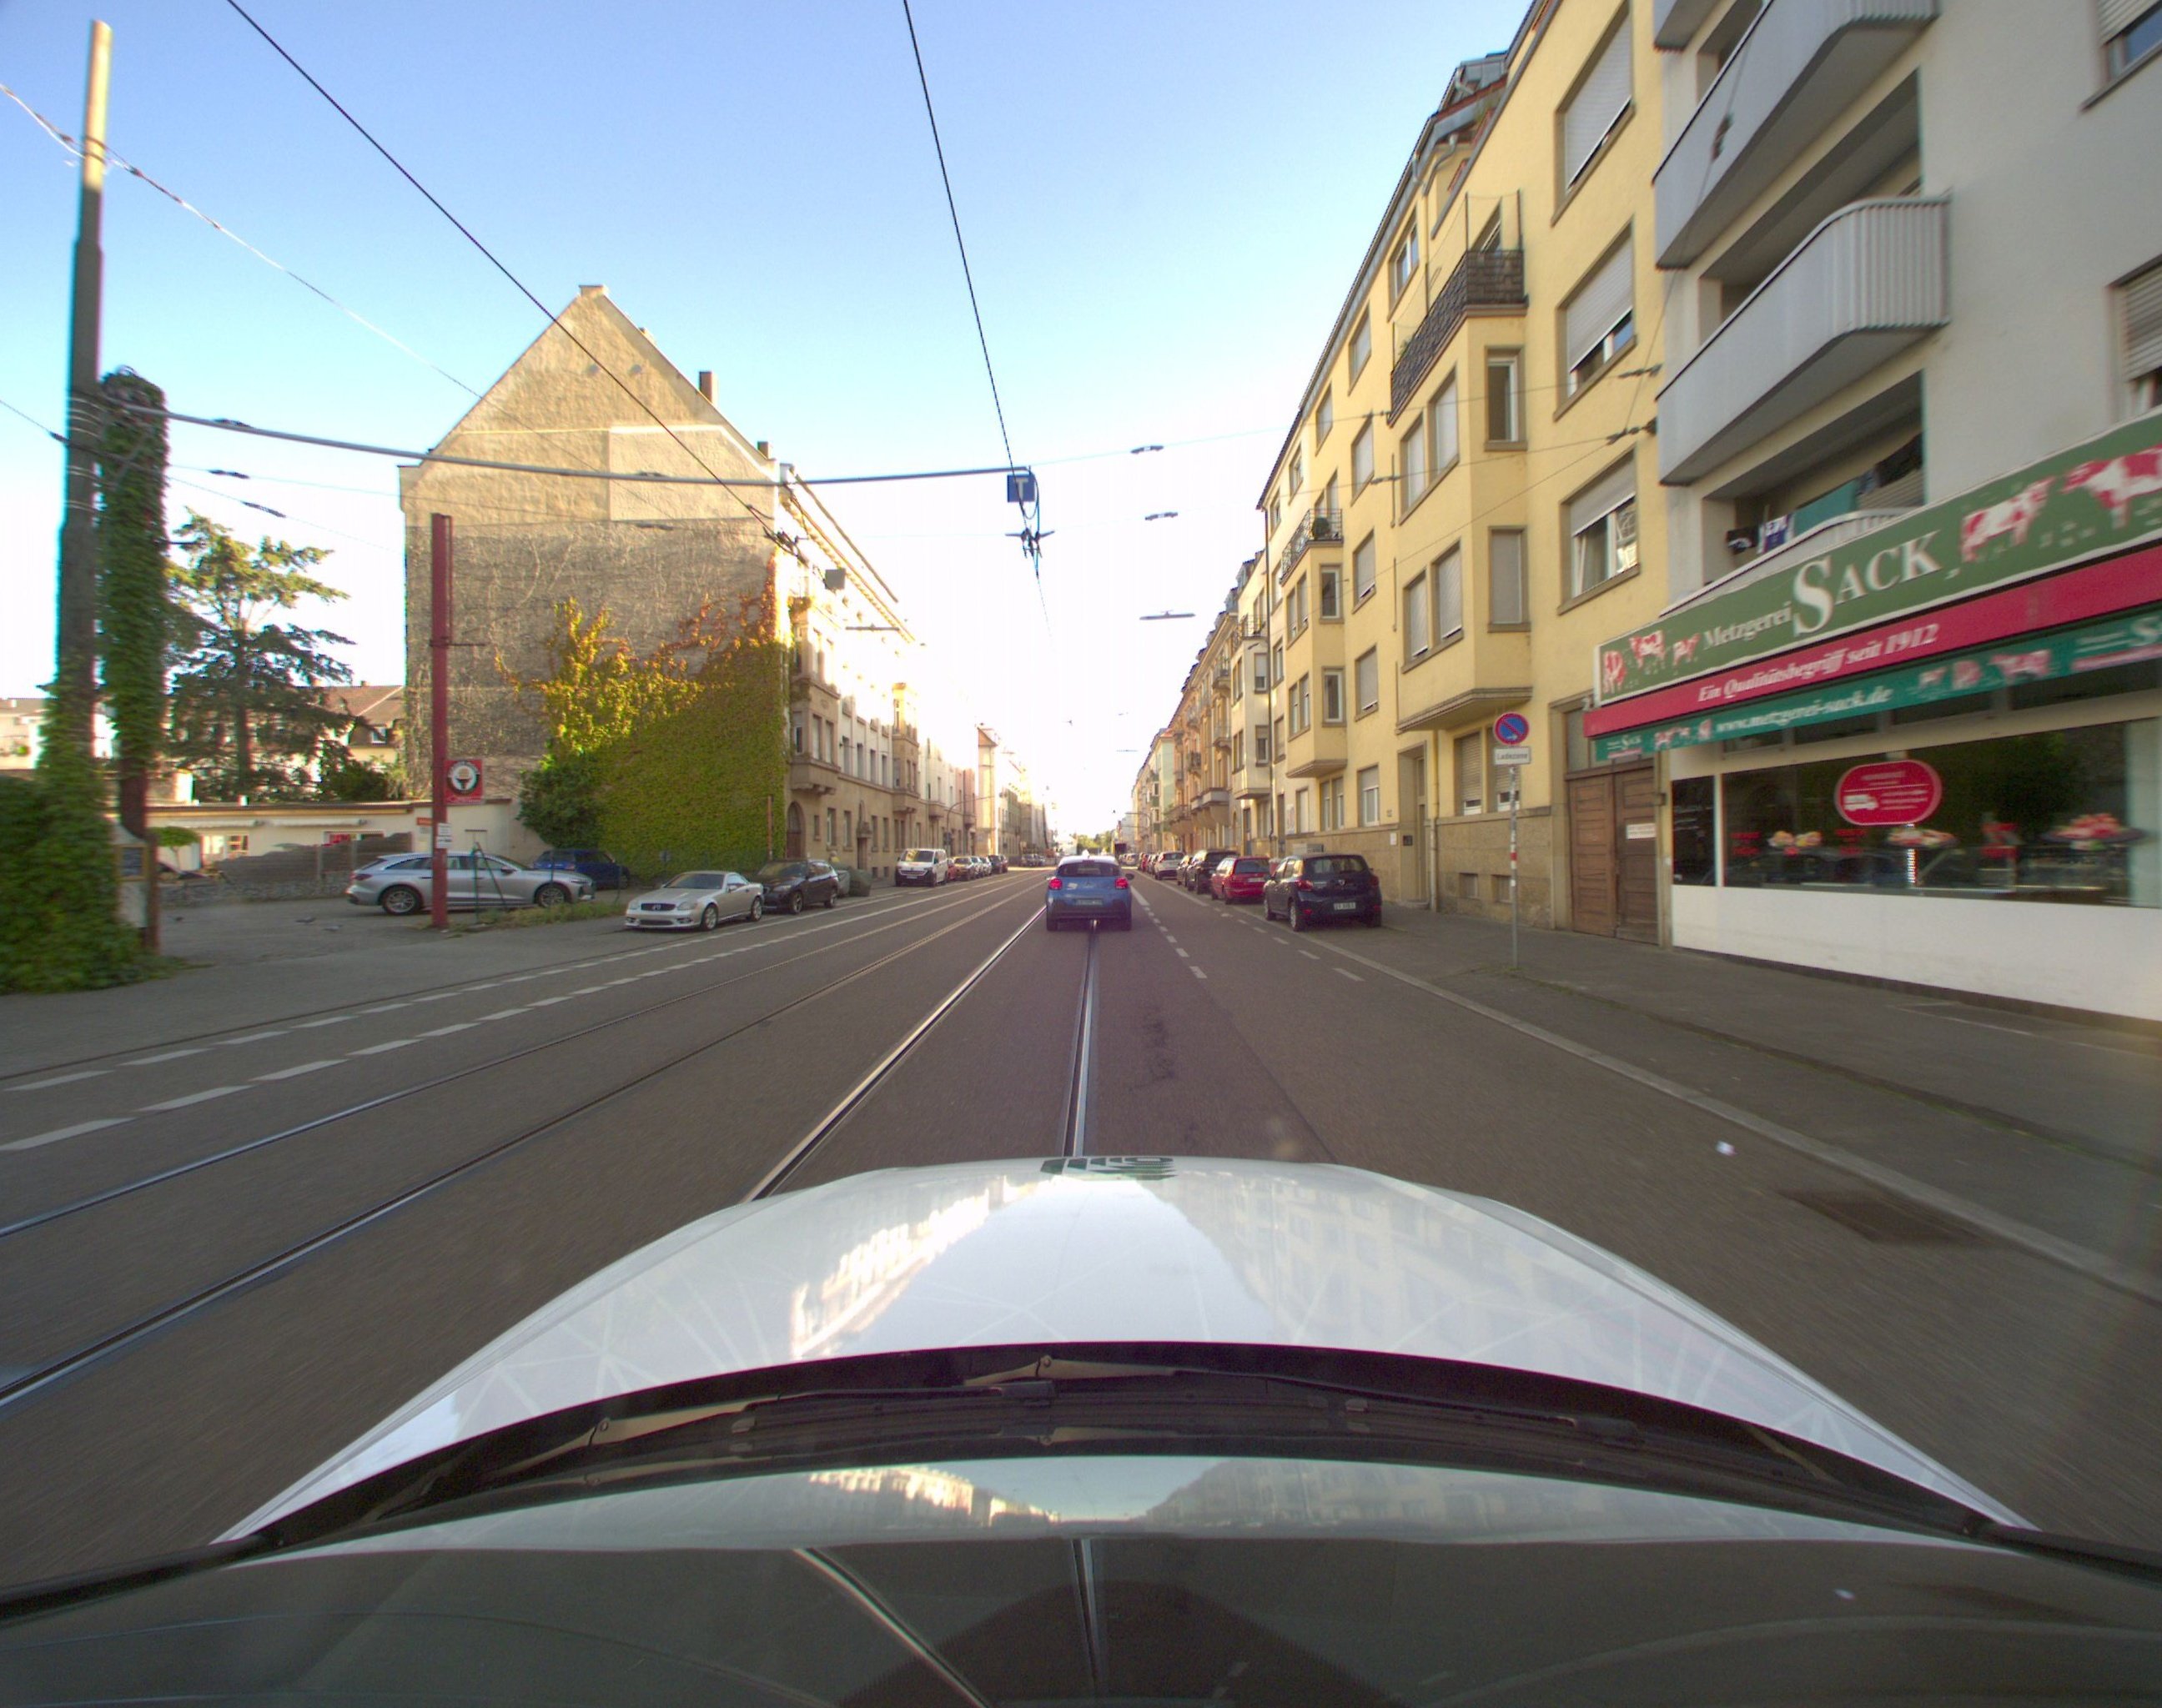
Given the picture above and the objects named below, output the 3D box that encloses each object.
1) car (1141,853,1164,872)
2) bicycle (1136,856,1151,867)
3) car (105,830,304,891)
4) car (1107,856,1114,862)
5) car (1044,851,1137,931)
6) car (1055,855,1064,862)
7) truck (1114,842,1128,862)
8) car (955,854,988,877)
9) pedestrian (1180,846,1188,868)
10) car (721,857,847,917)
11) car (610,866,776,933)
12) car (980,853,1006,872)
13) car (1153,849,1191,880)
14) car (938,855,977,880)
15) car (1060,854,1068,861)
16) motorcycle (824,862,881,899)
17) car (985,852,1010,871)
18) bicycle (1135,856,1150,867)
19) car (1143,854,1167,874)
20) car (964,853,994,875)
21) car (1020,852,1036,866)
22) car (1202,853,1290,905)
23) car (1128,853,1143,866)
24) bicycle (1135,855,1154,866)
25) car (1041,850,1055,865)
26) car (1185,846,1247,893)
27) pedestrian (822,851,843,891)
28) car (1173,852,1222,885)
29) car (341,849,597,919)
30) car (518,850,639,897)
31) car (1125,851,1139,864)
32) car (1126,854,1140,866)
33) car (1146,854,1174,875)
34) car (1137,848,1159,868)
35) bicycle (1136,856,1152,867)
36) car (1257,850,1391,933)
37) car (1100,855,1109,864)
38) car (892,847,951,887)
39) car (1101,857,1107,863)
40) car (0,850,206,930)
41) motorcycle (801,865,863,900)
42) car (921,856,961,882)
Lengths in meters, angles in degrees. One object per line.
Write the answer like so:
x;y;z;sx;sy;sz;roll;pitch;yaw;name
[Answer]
6.102;0.714;69.876;1.746;1.594;3.732;-1;0;3;car
7.541;0.898;97.683;1.716;1.154;0.469;-4;0;1;bicycle
-27.084;0.180;25.382;1.790;1.750;4.002;0;0;2;car
7.579;1.167;207.710;1.759;1.487;4.033;-1;0;2;car
0.240;0.703;17.472;1.728;1.507;3.994;1;0;2;car
-4.830;0.977;185.217;1.819;1.632;4.850;-1;0;2;car
8.543;-0.490;174.536;2.842;4.083;11.278;-1;0;3;truck
-7.787;0.795;58.157;1.766;1.547;4.364;1;0;-1;car
8.236;0.233;65.190;0.511;1.687;0.448;-1;0;1;pedestrian
-8.626;0.892;24.145;1.775;1.565;4.614;1;0;3;car
-8.921;0.980;19.172;1.777;1.314;4.222;1;0;1;car
-7.432;0.731;68.807;1.777;1.553;3.020;1;0;1;car
5.383;0.602;48.661;1.836;1.691;4.506;-1;0;2;car
-7.906;0.845;52.543;1.777;1.523;4.360;1;0;0;car
-4.336;0.953;205.291;1.819;1.632;3.906;-1;0;1;car
-8.716;0.978;31.135;0.875;1.351;1.970;0;0;34;motorcycle
-7.491;0.671;73.179;1.778;1.606;4.396;1;0;-1;car
7.595;0.923;100.434;1.716;1.154;0.469;-4;0;1;bicycle
5.908;0.744;65.306;1.648;1.513;4.475;-1;0;1;car
-7.925;0.776;63.438;1.778;1.622;4.178;1;0;-1;car
-6.775;0.670;104.045;1.778;1.690;4.666;1;0;-1;car
5.069;0.726;25.676;1.853;1.455;4.709;-1;0;0;car
6.953;0.727;103.666;1.777;1.632;4.002;-1;0;2;car
7.483;0.762;95.721;2.079;1.154;0.848;-4;0;1;bicycle
-5.643;0.594;138.891;2.138;2.475;4.978;1;0;-1;car
5.184;0.554;31.826;1.851;1.665;4.564;-1;0;3;car
-10.844;0.730;35.566;0.677;1.724;0.616;0;0;1;pedestrian
5.381;0.640;38.150;1.731;1.441;4.033;-1;0;0;car
-14.720;0.661;20.003;4.814;1.518;1.980;-1;0;-32;car
-17.660;0.648;28.866;1.746;1.525;3.911;-1;0;2;car
7.529;0.516;120.312;1.651;1.752;4.598;-1;0;-3;car
6.940;0.792;109.189;1.777;1.576;4.328;-1;0;2;car
5.832;0.753;60.259;1.649;1.483;4.474;-1;0;0;car
6.246;0.395;76.569;1.747;1.735;4.508;-4;0;2;car
7.487;0.839;96.446;1.836;1.154;0.469;-4;0;1;bicycle
4.970;0.699;17.221;1.712;1.491;4.003;-2;0;2;car
4.849;1.073;167.465;1.814;1.894;4.001;0;0;1;car
-8.244;0.653;42.645;1.966;1.949;5.252;1;0;0;car
7.450;1.893;260.348;1.819;1.632;4.492;-1;0;2;car
-24.447;0.798;19.865;1.790;1.750;4.002;0;0;2;car
-8.917;1.014;29.279;0.732;1.171;2.193;0;0;31;motorcycle
-8.252;0.846;48.148;1.597;1.472;3.647;1;0;1;car
